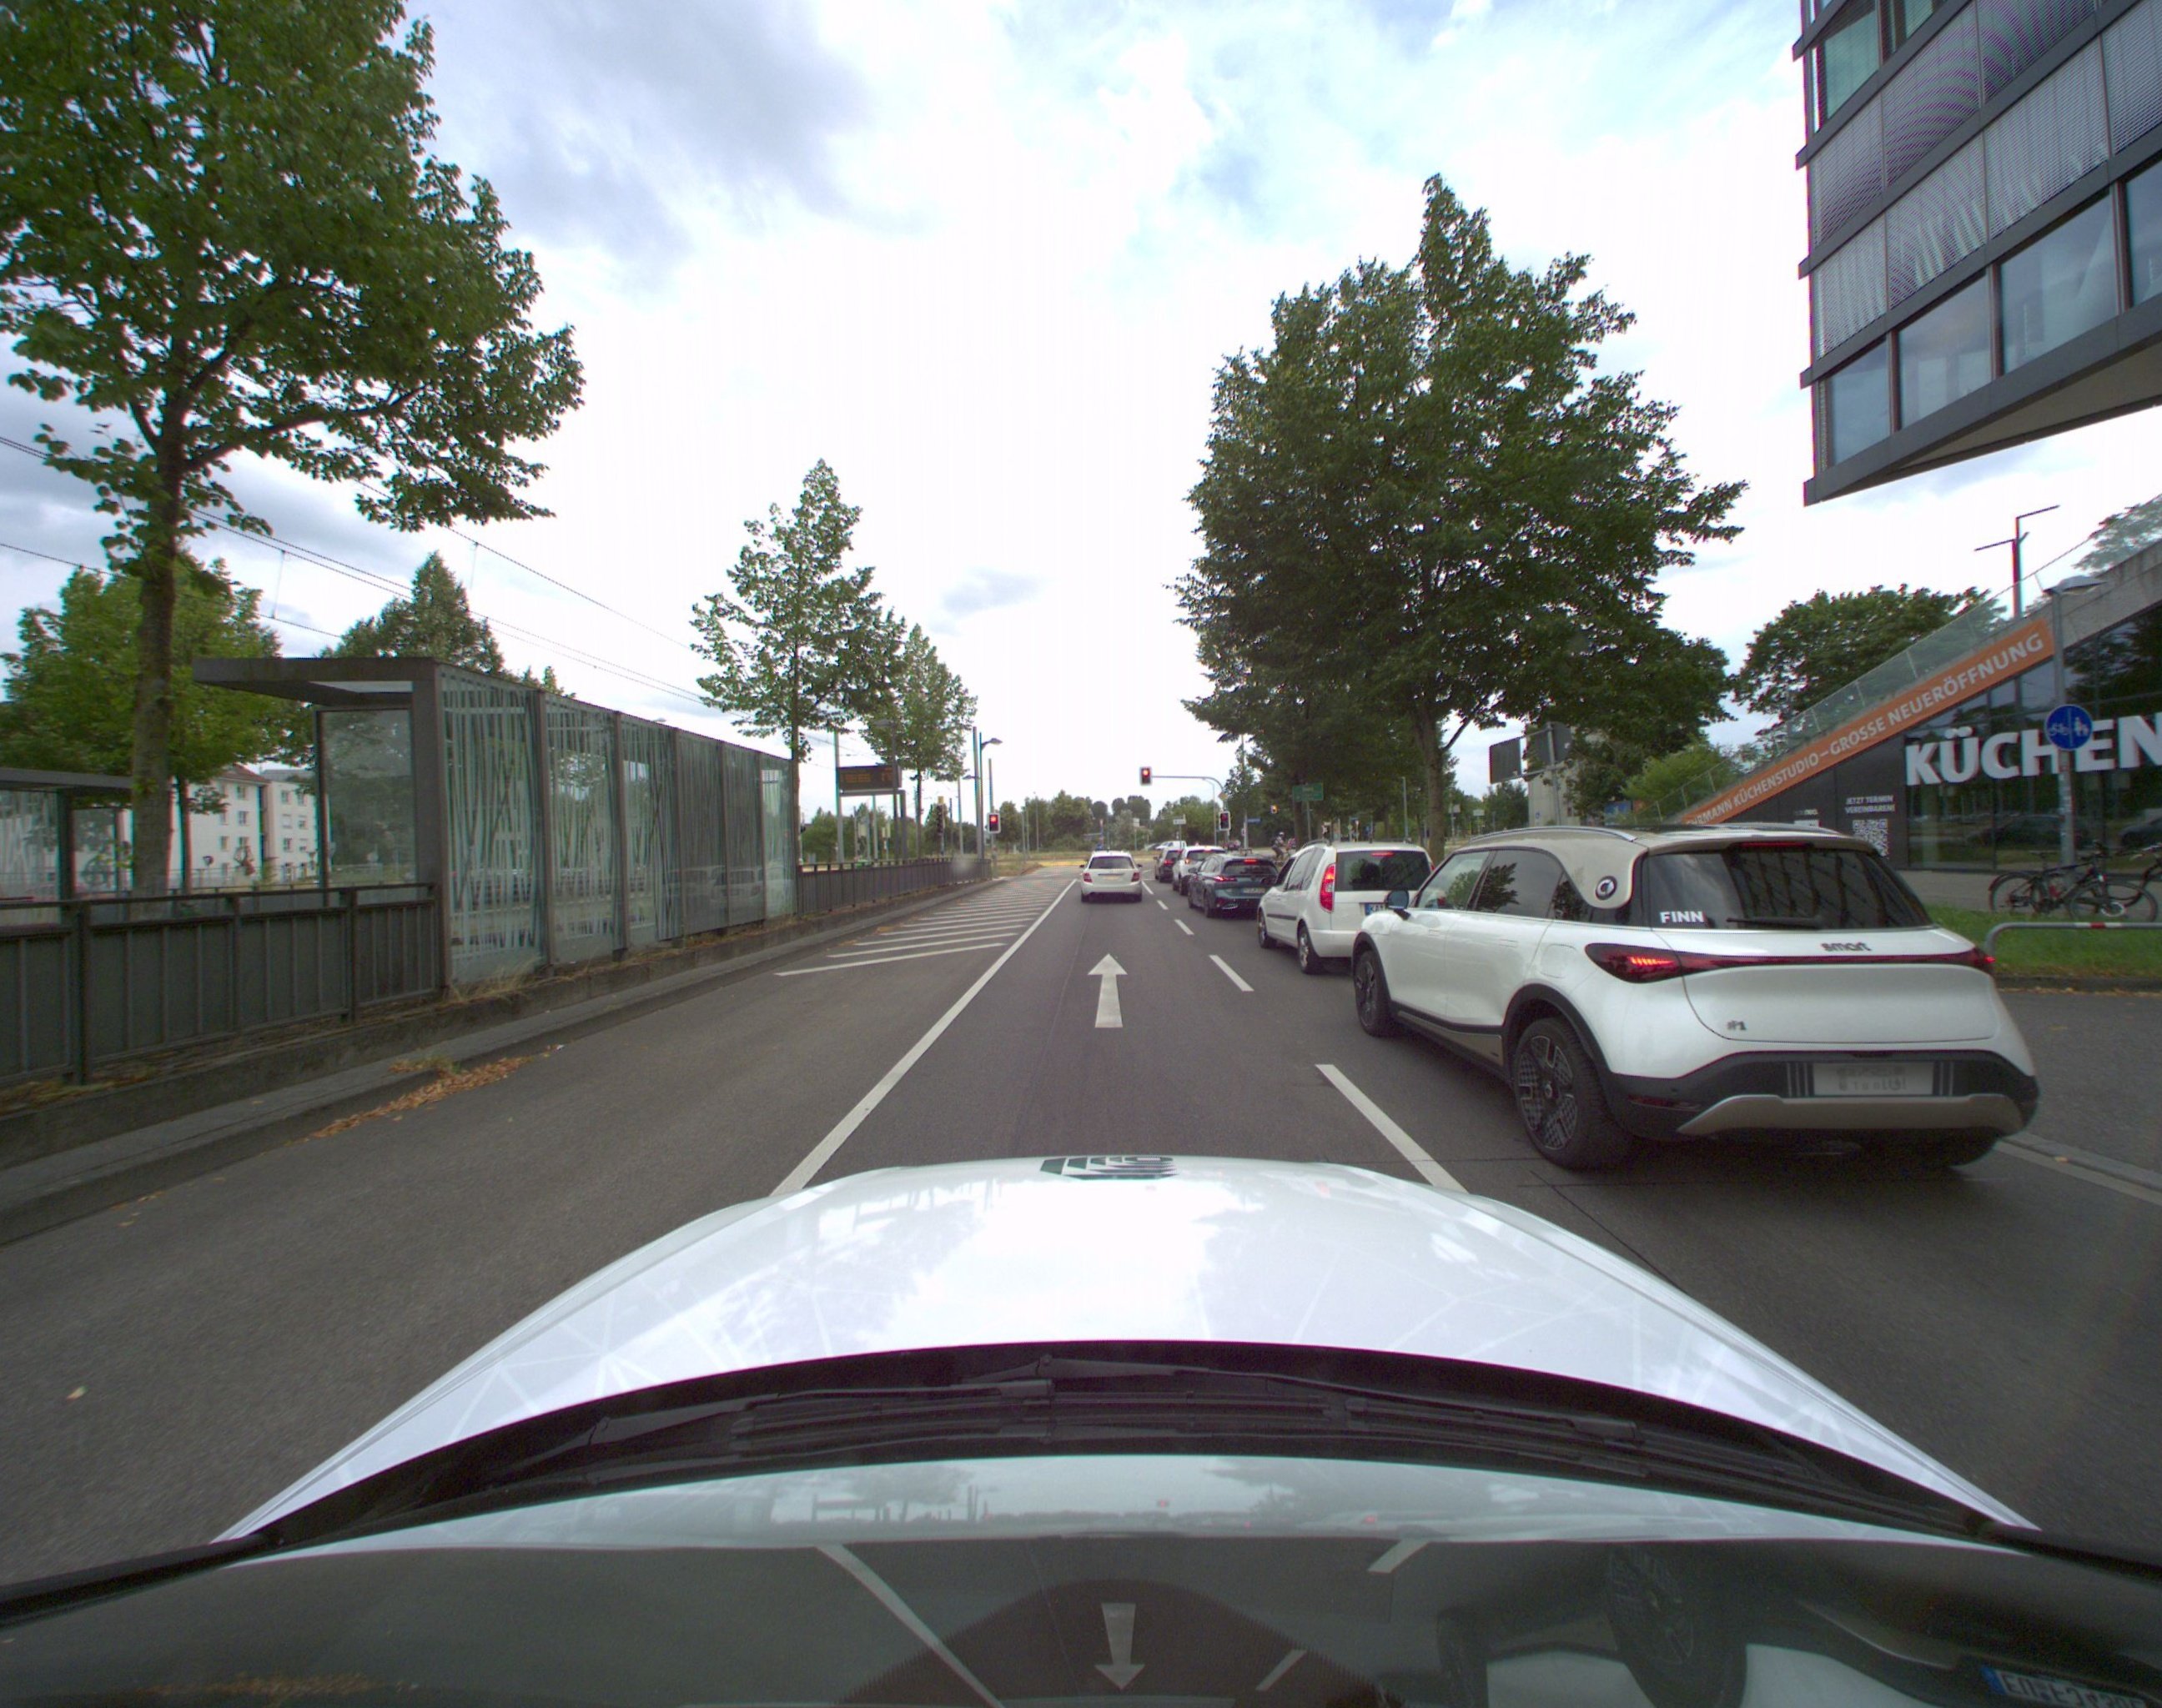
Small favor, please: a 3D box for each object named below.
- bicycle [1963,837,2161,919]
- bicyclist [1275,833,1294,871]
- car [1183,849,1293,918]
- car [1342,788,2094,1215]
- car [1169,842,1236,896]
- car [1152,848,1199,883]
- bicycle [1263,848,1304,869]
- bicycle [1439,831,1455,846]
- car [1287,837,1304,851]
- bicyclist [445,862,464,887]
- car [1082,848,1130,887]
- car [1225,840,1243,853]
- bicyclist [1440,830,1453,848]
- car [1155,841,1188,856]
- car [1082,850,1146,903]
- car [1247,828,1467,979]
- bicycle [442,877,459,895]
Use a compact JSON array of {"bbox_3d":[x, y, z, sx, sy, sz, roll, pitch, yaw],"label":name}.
[{"bbox_3d":[12.985,0.273,10.609,0.628,0.956,2.106,-2,0,-3],"label":"bicycle"},{"bbox_3d":[10.290,-0.102,41.273,0.726,1.885,0.734,-2,0,0],"label":"bicyclist"},{"bbox_3d":[3.627,0.611,19.607,1.781,1.432,4.310,-2,0,0],"label":"car"},{"bbox_3d":[3.122,0.559,5.190,1.772,1.656,4.025,0,0,2],"label":"car"},{"bbox_3d":[4.023,0.459,27.595,1.780,1.624,3.913,-2,0,2],"label":"car"},{"bbox_3d":[4.060,0.460,35.558,1.619,1.448,3.910,-1,0,0],"label":"car"},{"bbox_3d":[10.265,0.241,41.290,1.927,0.984,0.564,-2,0,0],"label":"bicycle"},{"bbox_3d":[36.915,-1.580,82.175,0.703,1.505,2.007,0,0,0],"label":"bicycle"},{"bbox_3d":[26.995,-1.289,102.702,1.771,1.636,4.416,-2,0,12],"label":"car"},{"bbox_3d":[-40.894,1.317,53.137,0.896,1.562,0.741,-2,0,-40],"label":"bicyclist"},{"bbox_3d":[0.953,0.507,32.733,1.768,1.448,3.910,-1,0,0],"label":"car"},{"bbox_3d":[20.395,-0.984,108.613,1.984,1.791,4.006,0,0,6],"label":"car"},{"bbox_3d":[36.903,-1.514,82.246,0.863,1.789,1.175,-1,1,0],"label":"bicyclist"},{"bbox_3d":[13.638,-0.795,122.625,5.023,2.013,1.978,-2,1,-37],"label":"car"},{"bbox_3d":[0.926,0.605,24.552,1.768,1.448,3.910,-1,0,0],"label":"car"},{"bbox_3d":[3.559,0.551,11.309,1.772,1.656,4.025,-2,0,2],"label":"car"},{"bbox_3d":[-40.989,2.069,52.942,0.813,1.129,2.676,-2,1,-39],"label":"bicycle"}]
